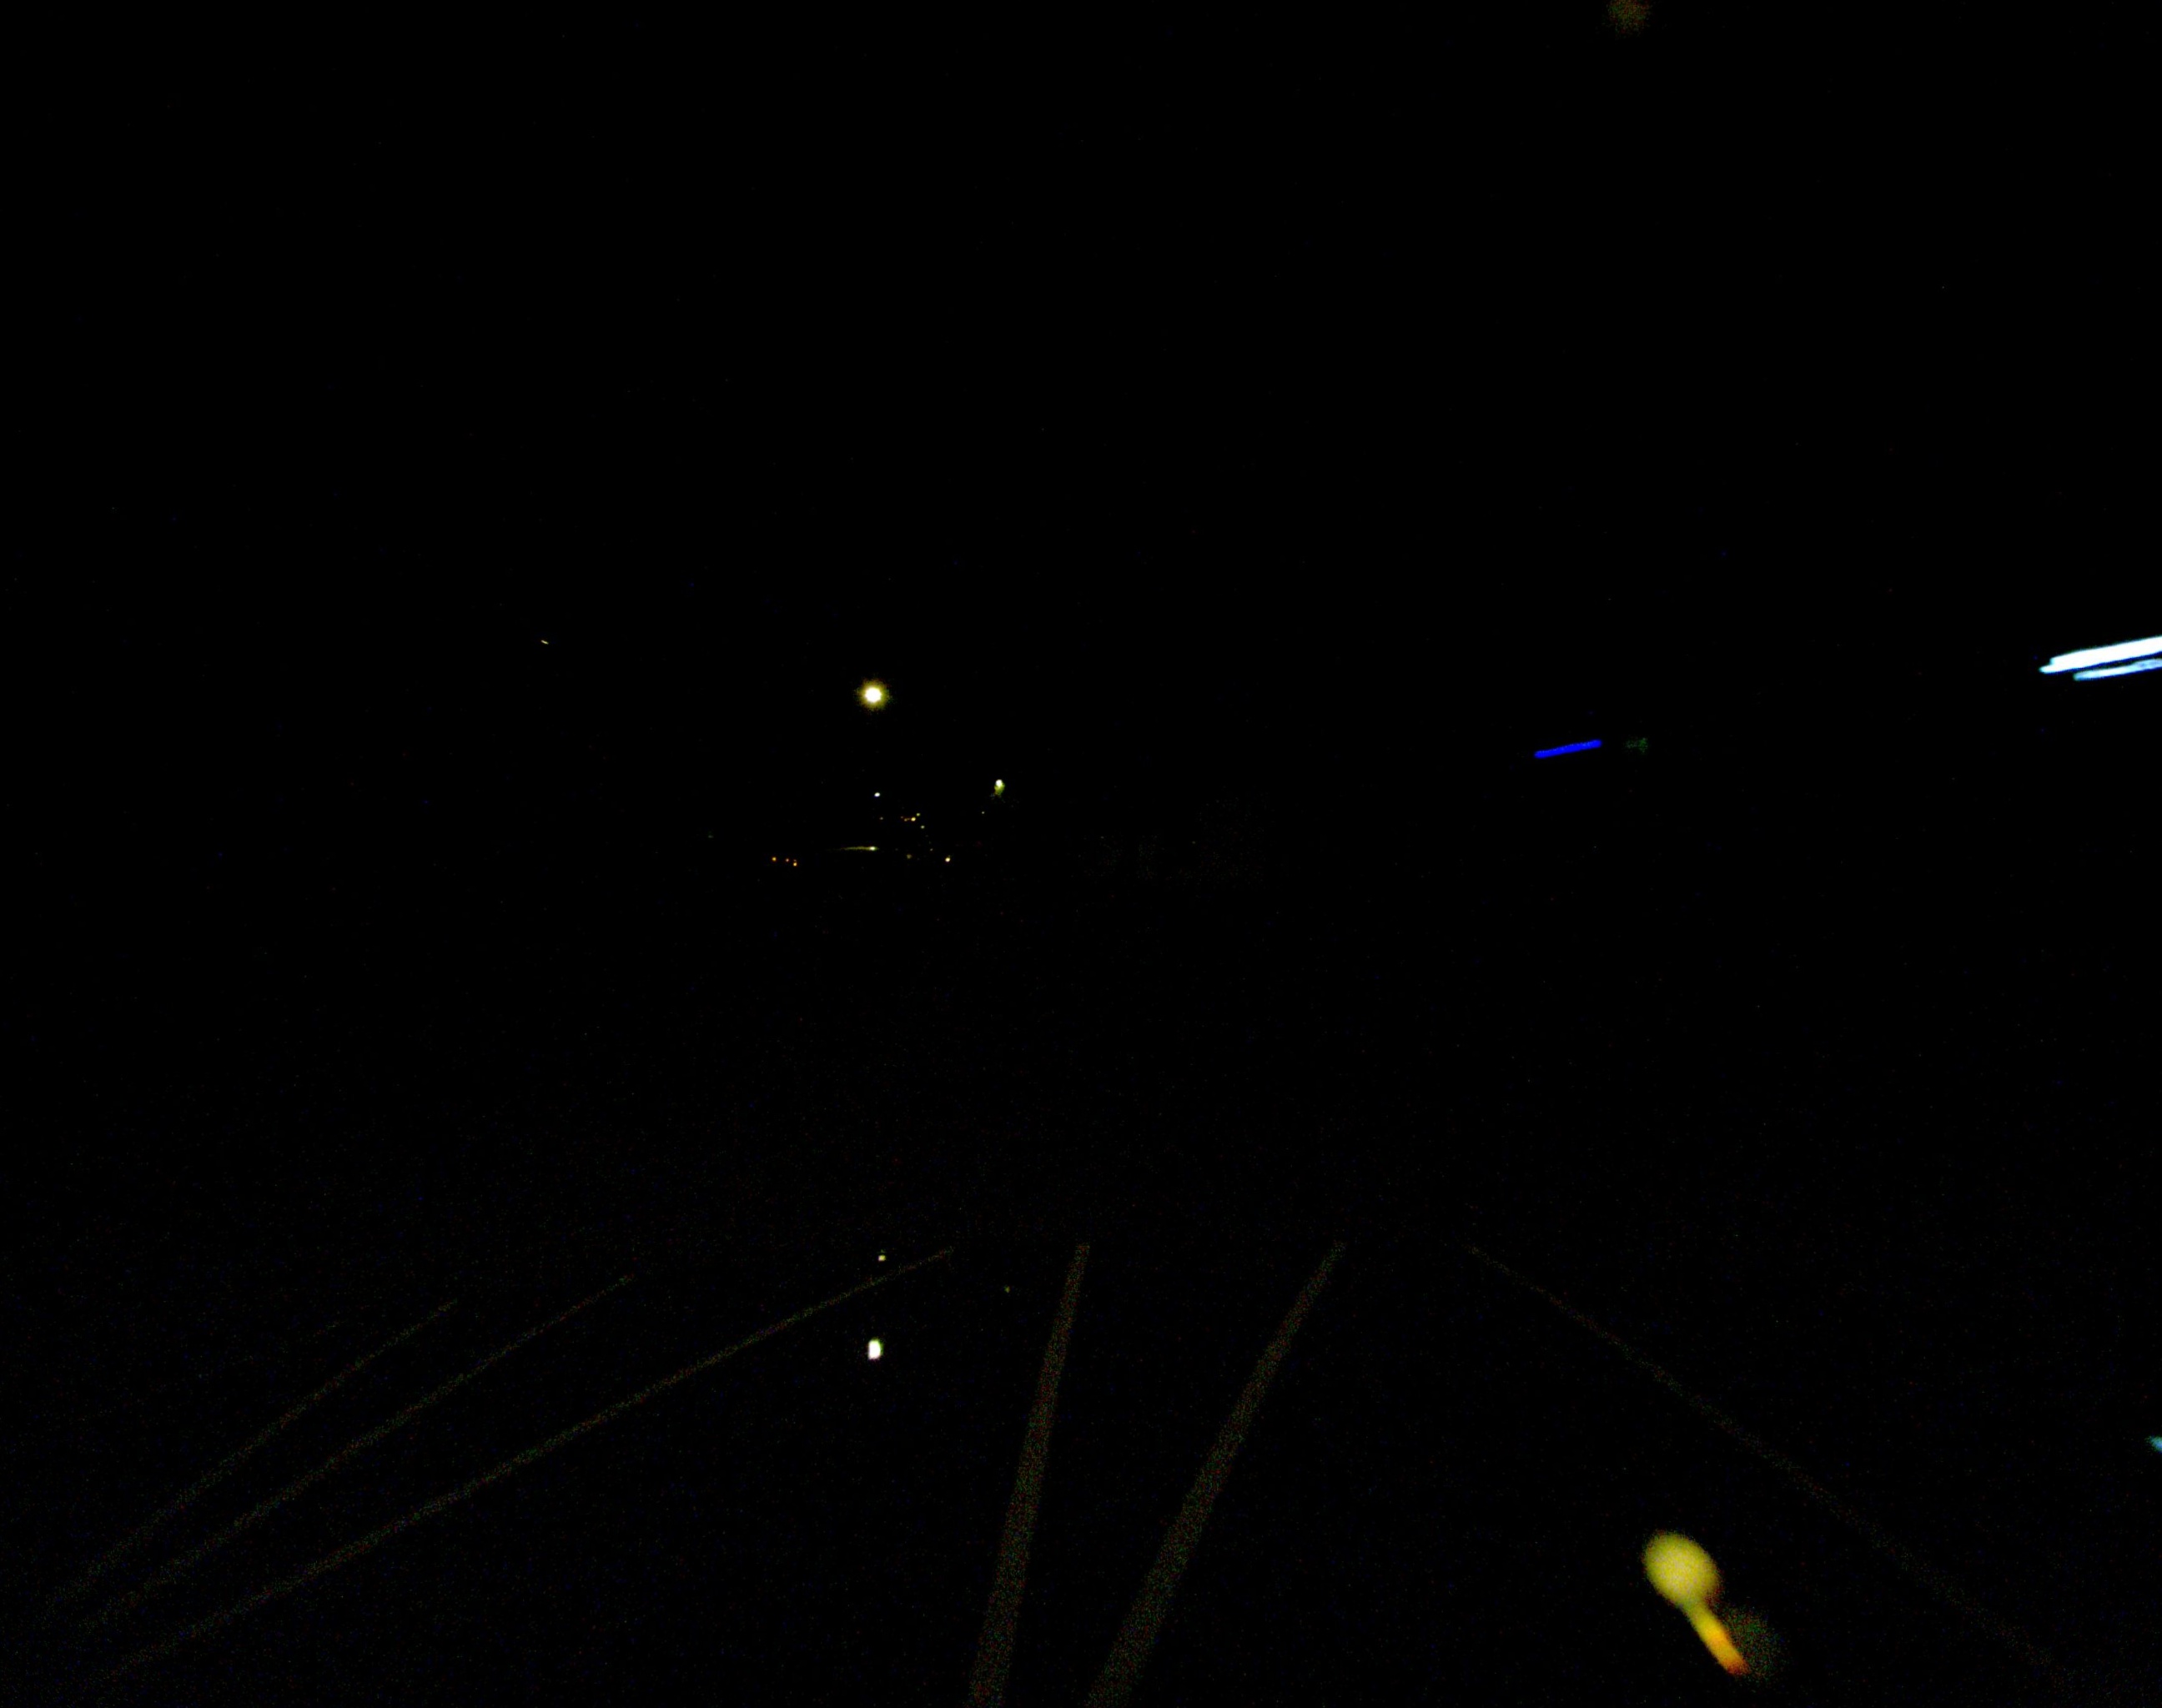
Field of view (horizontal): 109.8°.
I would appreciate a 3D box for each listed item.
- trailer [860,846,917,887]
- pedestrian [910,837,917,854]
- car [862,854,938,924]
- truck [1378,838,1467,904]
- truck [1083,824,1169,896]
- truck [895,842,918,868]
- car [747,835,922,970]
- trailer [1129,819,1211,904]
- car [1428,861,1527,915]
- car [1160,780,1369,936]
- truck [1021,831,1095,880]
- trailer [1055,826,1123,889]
[{"bbox_3d":[-10.147,0.620,39.807,1.498,2.002,4.973,-1,0,-31],"label":"trailer"},{"bbox_3d":[-46.682,-2.390,212.079,1.745,4.679,2.300,-1,0,-9],"label":"pedestrian"},{"bbox_3d":[-5.200,0.919,22.270,1.735,1.769,4.313,-2,0,-9],"label":"car"},{"bbox_3d":[14.960,0.656,33.795,2.136,2.598,7.105,0,0,12],"label":"truck"},{"bbox_3d":[1.783,0.233,33.268,2.000,2.768,7.237,-1,0,-11],"label":"truck"},{"bbox_3d":[-25.929,0.191,113.300,3.059,3.601,9.591,-1,0,-11],"label":"truck"},{"bbox_3d":[-4.364,0.761,14.459,1.999,2.002,5.352,-3,0,-6],"label":"car"},{"bbox_3d":[3.004,0.253,26.571,2.003,2.749,3.998,1,0,-6],"label":"trailer"},{"bbox_3d":[13.249,1.078,25.657,1.860,1.630,4.003,0,0,11],"label":"car"},{"bbox_3d":[4.244,0.064,19.413,2.390,3.224,7.225,-1,0,-11],"label":"car"},{"bbox_3d":[-1.781,0.102,52.725,2.754,3.047,9.323,-1,0,-17],"label":"truck"},{"bbox_3d":[0.280,0.183,41.261,2.490,3.055,7.948,-1,0,-8],"label":"trailer"}]
